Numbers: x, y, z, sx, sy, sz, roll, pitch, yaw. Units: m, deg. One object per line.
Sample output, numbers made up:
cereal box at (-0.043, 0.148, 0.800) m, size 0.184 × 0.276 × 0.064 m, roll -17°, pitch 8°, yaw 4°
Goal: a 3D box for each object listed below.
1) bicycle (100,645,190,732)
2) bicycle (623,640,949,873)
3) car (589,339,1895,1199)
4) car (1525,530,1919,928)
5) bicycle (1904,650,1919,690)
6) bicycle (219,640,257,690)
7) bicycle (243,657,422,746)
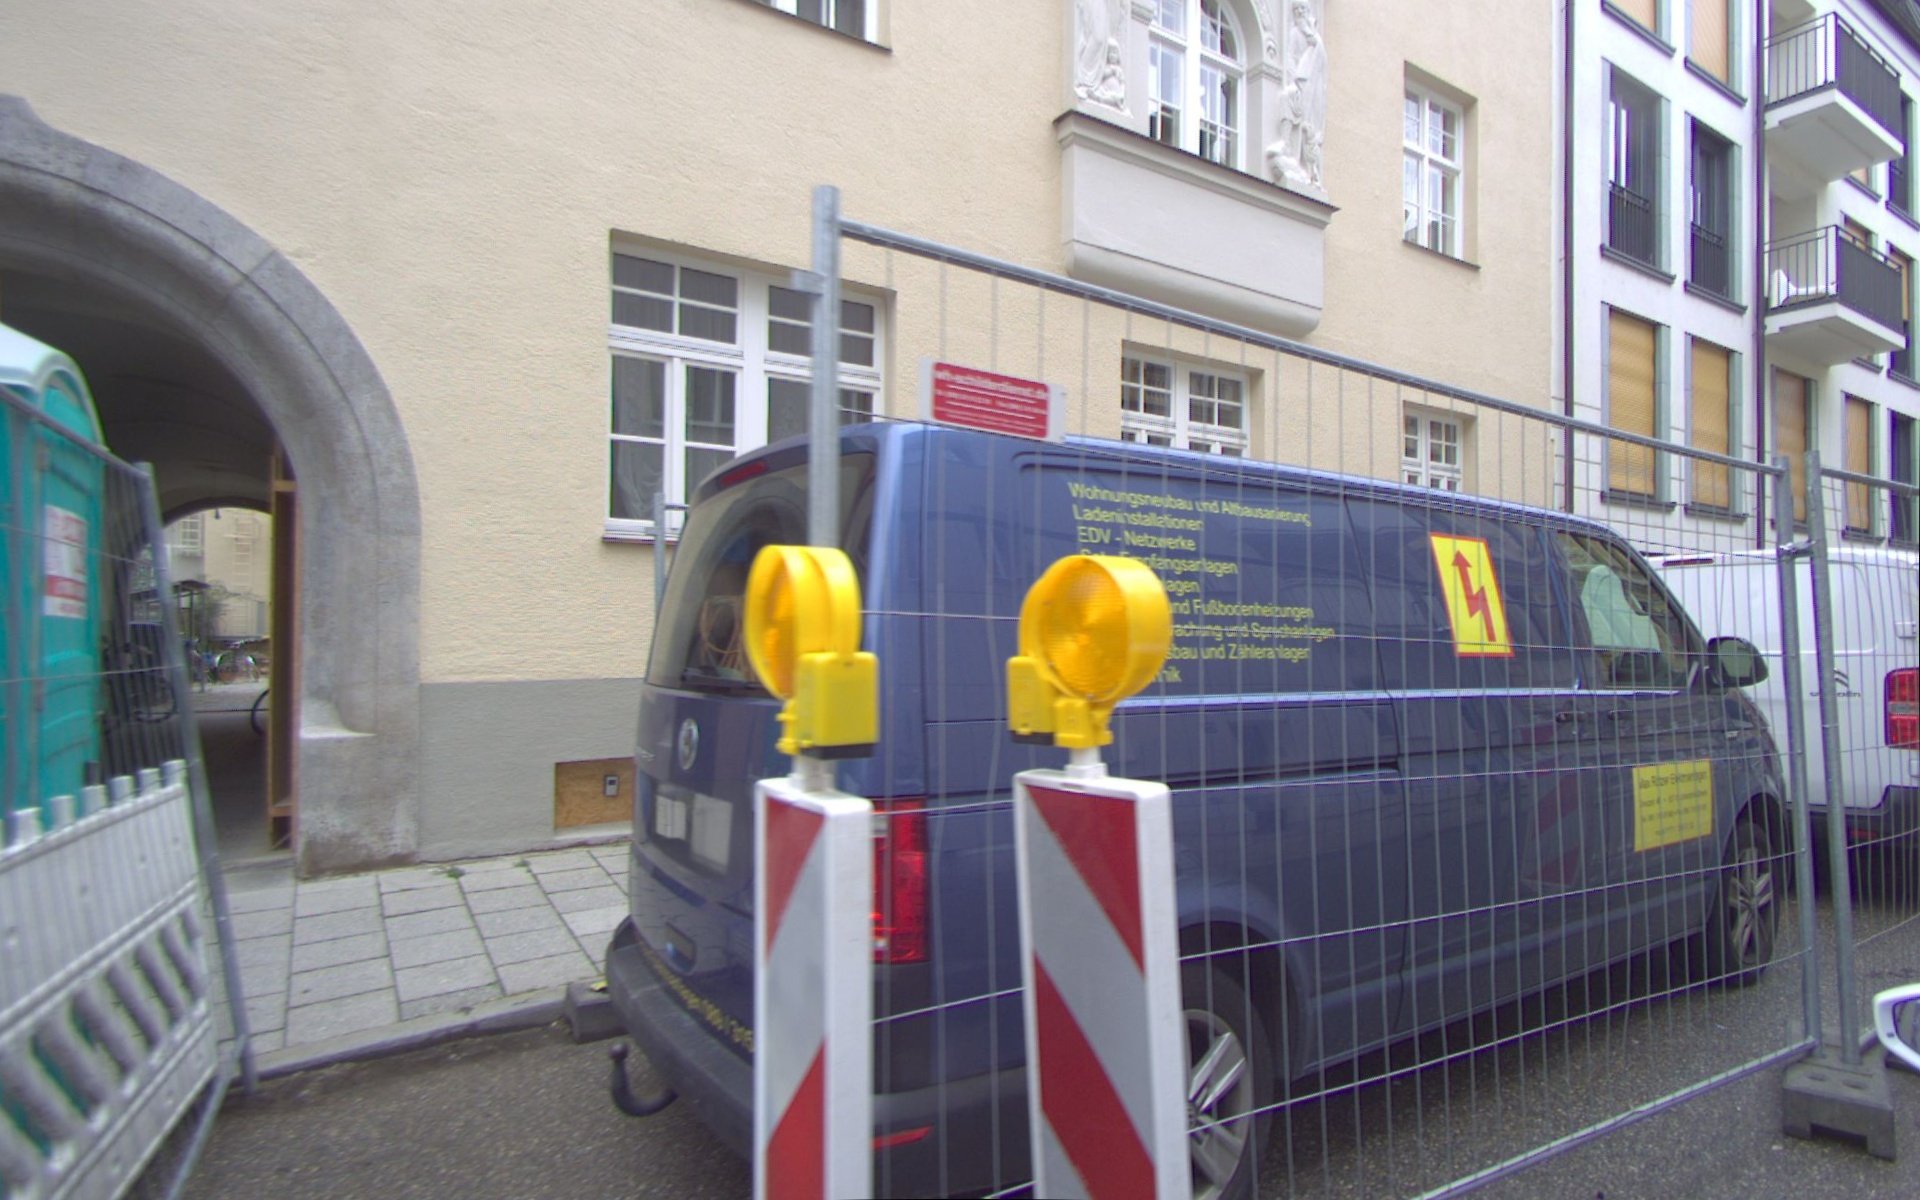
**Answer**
bicycle at (-11.073, 1.170, 13.703) m, size 0.756 × 1.034 × 1.735 m, roll 2°, pitch -1°, yaw -33°
bicycle at (-1.001, 0.883, 6.289) m, size 2.118 × 1.204 × 0.378 m, roll 0°, pitch 0°, yaw -41°
car at (1.580, 0.616, 3.916) m, size 5.450 × 1.922 × 1.717 m, roll 2°, pitch -4°, yaw -33°
car at (6.161, 0.705, 7.094) m, size 5.040 × 1.922 × 1.891 m, roll 2°, pitch -2°, yaw -36°
bicycle at (22.627, 1.626, 23.035) m, size 1.365 × 0.900 × 0.380 m, roll 0°, pitch 0°, yaw 24°
bicycle at (-16.874, 1.503, 23.502) m, size 0.618 × 1.053 × 1.735 m, roll 2°, pitch -1°, yaw -33°
bicycle at (-7.309, 1.157, 11.776) m, size 1.732 × 0.959 × 0.504 m, roll 2°, pitch -1°, yaw -32°
